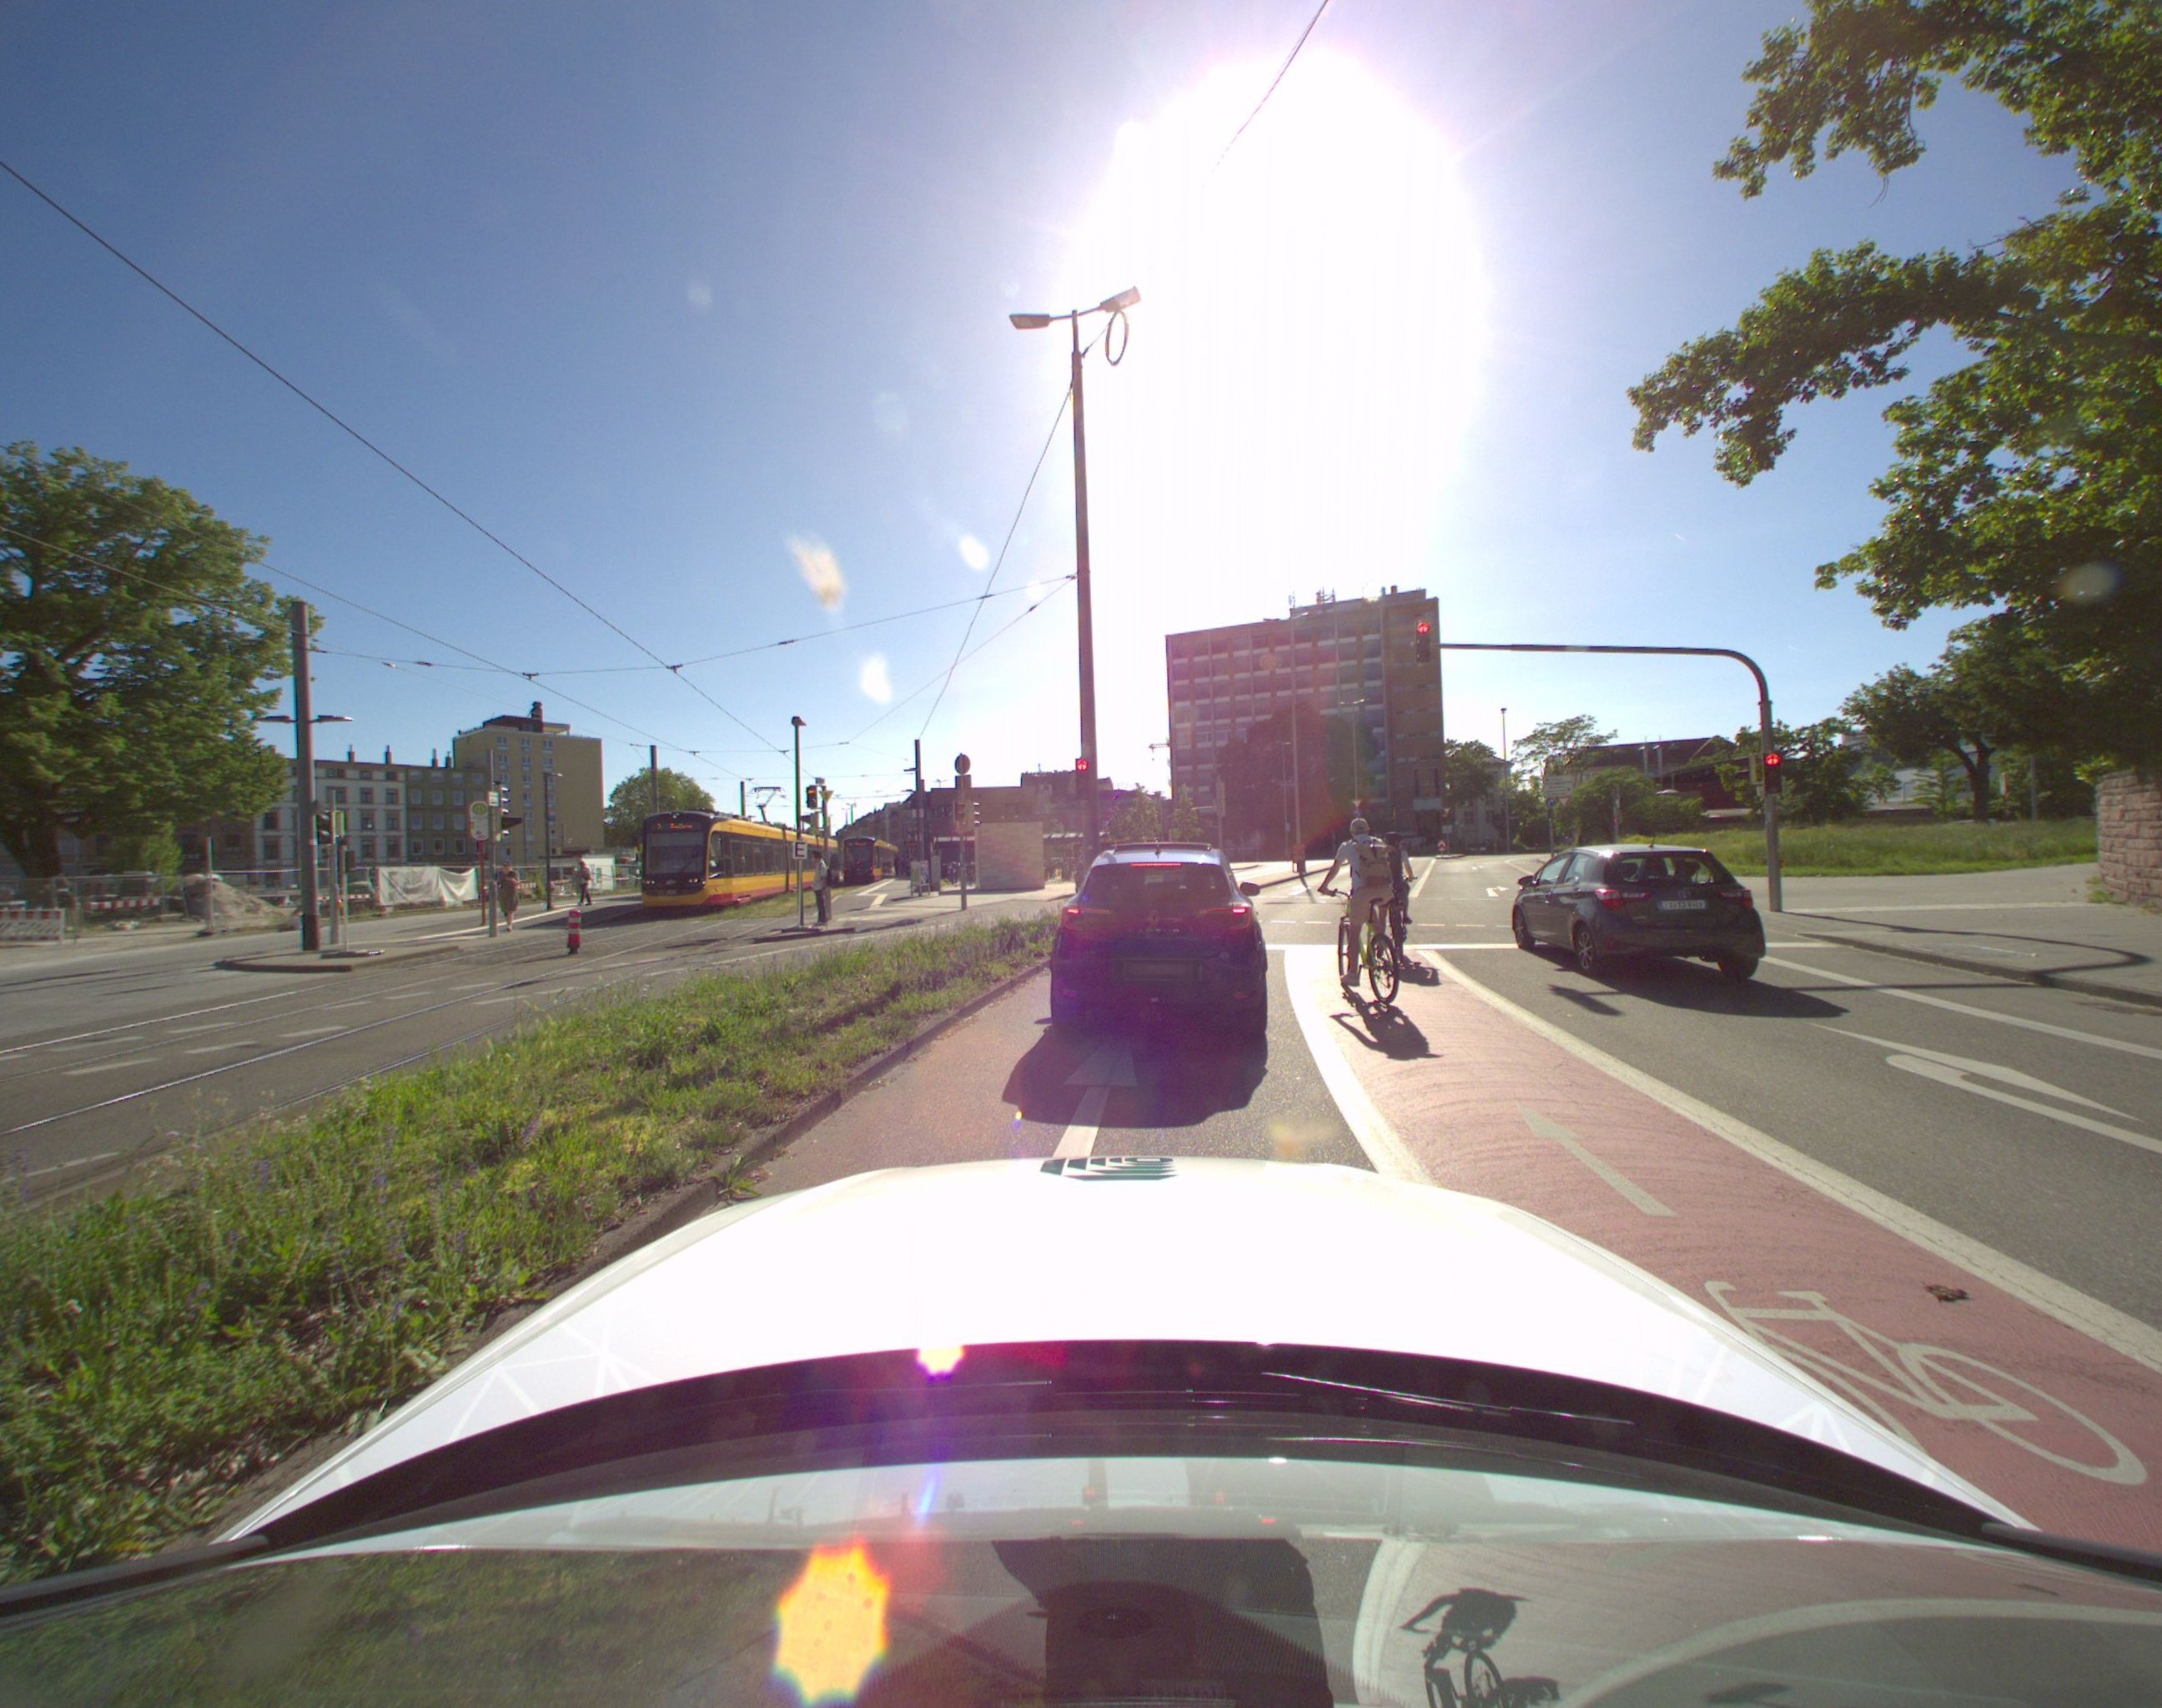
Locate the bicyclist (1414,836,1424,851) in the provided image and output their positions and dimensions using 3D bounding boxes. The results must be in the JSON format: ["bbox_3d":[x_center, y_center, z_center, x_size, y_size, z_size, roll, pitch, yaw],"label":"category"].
[{"bbox_3d":[38.106,-1.200,91.816,0.850,1.692,0.889,-2,-2,28],"label":"bicyclist"}]

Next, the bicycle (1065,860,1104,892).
[{"bbox_3d":[0.151,0.785,29.407,0.767,1.080,2.045,-3,-1,17],"label":"bicycle"}]

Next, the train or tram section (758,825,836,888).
[{"bbox_3d":[-17.691,0.174,51.520,2.817,3.508,11.171,-1,0,-10],"label":"train or tram section"}]

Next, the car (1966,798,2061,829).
[{"bbox_3d":[70.338,-3.057,61.557,4.305,2.014,2.013,-2,-2,35],"label":"car"}]

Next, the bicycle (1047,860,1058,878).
[{"bbox_3d":[-1.771,0.927,50.280,0.579,1.088,2.054,-1,-1,-5],"label":"bicycle"}]

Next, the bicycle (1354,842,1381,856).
[{"bbox_3d":[32.589,-0.563,92.665,2.775,1.541,0.889,-2,-2,28],"label":"bicycle"}]

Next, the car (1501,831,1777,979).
[{"bbox_3d":[6.816,0.537,10.439,1.743,1.541,3.673,-1,0,14],"label":"car"}]

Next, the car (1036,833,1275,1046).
[{"bbox_3d":[0.838,0.644,8.069,1.812,1.600,3.668,-1,0,9],"label":"car"}]

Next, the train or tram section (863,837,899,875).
[{"bbox_3d":[-20.030,0.186,82.050,2.872,3.508,10.504,-1,0,-11],"label":"train or tram section"}]

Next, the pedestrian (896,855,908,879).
[{"bbox_3d":[-13.964,1.016,63.470,0.848,1.883,0.757,-1,-2,-12],"label":"pedestrian"}]

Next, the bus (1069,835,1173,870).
[{"bbox_3d":[4.183,-0.034,88.521,12.288,3.396,2.900,-2,-2,43],"label":"bus"}]

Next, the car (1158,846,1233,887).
[{"bbox_3d":[4.470,0.442,31.326,1.784,1.393,4.115,-2,0,23],"label":"car"}]

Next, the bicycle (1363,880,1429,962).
[{"bbox_3d":[4.328,0.887,11.306,0.717,0.960,1.892,-1,0,17],"label":"bicycle"}]

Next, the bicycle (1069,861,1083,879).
[{"bbox_3d":[-0.294,0.898,44.629,0.579,0.961,2.054,-1,-1,-5],"label":"bicycle"}]

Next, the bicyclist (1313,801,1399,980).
[{"bbox_3d":[2.827,0.359,8.471,0.659,1.747,1.008,-2,0,10],"label":"bicyclist"}]

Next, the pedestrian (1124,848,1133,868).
[{"bbox_3d":[4.633,0.393,79.063,0.721,1.857,0.705,-1,-1,11],"label":"pedestrian"}]

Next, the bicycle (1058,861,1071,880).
[{"bbox_3d":[-0.909,0.907,44.570,0.579,0.961,2.054,-1,-1,-5],"label":"bicycle"}]

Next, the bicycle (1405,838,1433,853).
[{"bbox_3d":[38.114,-0.939,91.826,2.775,1.541,0.889,-2,-2,28],"label":"bicycle"}]

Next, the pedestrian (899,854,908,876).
[{"bbox_3d":[-15.343,0.980,70.350,0.672,1.857,0.701,-1,-1,-6],"label":"pedestrian"}]

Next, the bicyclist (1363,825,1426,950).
[{"bbox_3d":[4.283,0.430,11.191,0.716,1.626,1.060,-1,0,17],"label":"bicyclist"}]

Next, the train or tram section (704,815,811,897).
[{"bbox_3d":[-15.861,0.108,40.859,2.817,3.508,10.574,-1,0,-10],"label":"train or tram section"}]

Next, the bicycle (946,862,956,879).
[{"bbox_3d":[-8.616,1.107,54.125,0.565,1.093,2.024,-1,-1,-7],"label":"bicycle"}]

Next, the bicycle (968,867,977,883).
[{"bbox_3d":[-6.643,1.281,49.768,0.422,0.938,1.301,0,-1,-12],"label":"bicycle"}]

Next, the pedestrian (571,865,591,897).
[{"bbox_3d":[-28.636,1.544,46.674,0.668,1.767,0.797,-2,0,-12],"label":"pedestrian"}]

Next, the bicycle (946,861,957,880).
[{"bbox_3d":[-7.567,0.957,47.757,0.565,1.093,2.024,-1,-1,-7],"label":"bicycle"}]

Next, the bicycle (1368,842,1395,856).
[{"bbox_3d":[34.591,-0.577,93.629,2.775,1.541,0.889,-2,-2,28],"label":"bicycle"}]

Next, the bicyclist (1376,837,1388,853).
[{"bbox_3d":[34.586,-1.019,93.632,1.146,1.797,0.889,-2,-2,28],"label":"bicyclist"}]

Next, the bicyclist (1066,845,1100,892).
[{"bbox_3d":[0.069,0.512,29.381,0.873,1.644,1.065,-3,-1,17],"label":"bicyclist"}]

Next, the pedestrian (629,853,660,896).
[{"bbox_3d":[-20.682,0.955,38.565,0.959,2.014,0.997,-1,-1,-4],"label":"pedestrian"}]

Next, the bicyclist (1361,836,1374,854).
[{"bbox_3d":[32.585,-1.020,92.660,1.195,1.897,0.889,-2,-2,28],"label":"bicyclist"}]

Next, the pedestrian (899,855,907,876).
[{"bbox_3d":[-16.089,1.008,73.528,0.631,1.857,0.701,-1,-1,-6],"label":"pedestrian"}]

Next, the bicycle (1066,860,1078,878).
[{"bbox_3d":[-0.563,0.907,50.296,0.579,1.088,2.054,-1,-1,-5],"label":"bicycle"}]

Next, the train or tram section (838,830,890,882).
[{"bbox_3d":[-16.207,0.151,61.413,2.872,3.508,10.503,-1,0,-11],"label":"train or tram section"}]

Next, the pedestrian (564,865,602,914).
[{"bbox_3d":[-18.793,1.315,30.762,0.861,1.767,0.971,-2,0,-8],"label":"pedestrian"}]

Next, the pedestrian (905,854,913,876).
[{"bbox_3d":[-14.477,0.928,68.566,0.633,1.857,0.699,0,-2,-16],"label":"pedestrian"}]

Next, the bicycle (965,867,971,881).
[{"bbox_3d":[-7.566,1.319,54.508,0.421,0.938,1.375,0,-1,-8],"label":"bicycle"}]

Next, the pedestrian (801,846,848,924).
[{"bbox_3d":[-6.196,0.727,19.652,1.020,1.832,0.755,0,-2,-21],"label":"pedestrian"}]

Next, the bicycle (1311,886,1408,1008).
[{"bbox_3d":[2.874,0.910,8.564,0.658,1.047,1.896,-2,0,10],"label":"bicycle"}]

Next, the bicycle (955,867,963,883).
[{"bbox_3d":[-7.400,1.288,49.469,0.422,0.938,1.301,0,-1,-12],"label":"bicycle"}]

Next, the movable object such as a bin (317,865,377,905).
[{"bbox_3d":[-52.138,2.195,57.849,3.949,2.796,1.844,-2,-2,27],"label":"movable object such as a bin"}]

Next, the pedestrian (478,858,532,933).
[{"bbox_3d":[-14.987,1.067,21.212,0.762,1.850,0.898,-2,2,-12],"label":"pedestrian"}]

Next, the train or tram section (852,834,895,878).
[{"bbox_3d":[-18.135,0.174,71.694,2.872,3.508,10.503,-1,0,-11],"label":"train or tram section"}]

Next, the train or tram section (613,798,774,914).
[{"bbox_3d":[-13.966,0.077,30.492,2.819,3.508,10.438,-2,0,-11],"label":"train or tram section"}]

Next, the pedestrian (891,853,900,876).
[{"bbox_3d":[-15.613,0.874,68.483,0.740,1.918,0.739,-1,-1,-11],"label":"pedestrian"}]

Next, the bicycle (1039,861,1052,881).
[{"bbox_3d":[-1.945,0.918,44.241,0.579,1.058,1.813,-1,-1,-5],"label":"bicycle"}]
